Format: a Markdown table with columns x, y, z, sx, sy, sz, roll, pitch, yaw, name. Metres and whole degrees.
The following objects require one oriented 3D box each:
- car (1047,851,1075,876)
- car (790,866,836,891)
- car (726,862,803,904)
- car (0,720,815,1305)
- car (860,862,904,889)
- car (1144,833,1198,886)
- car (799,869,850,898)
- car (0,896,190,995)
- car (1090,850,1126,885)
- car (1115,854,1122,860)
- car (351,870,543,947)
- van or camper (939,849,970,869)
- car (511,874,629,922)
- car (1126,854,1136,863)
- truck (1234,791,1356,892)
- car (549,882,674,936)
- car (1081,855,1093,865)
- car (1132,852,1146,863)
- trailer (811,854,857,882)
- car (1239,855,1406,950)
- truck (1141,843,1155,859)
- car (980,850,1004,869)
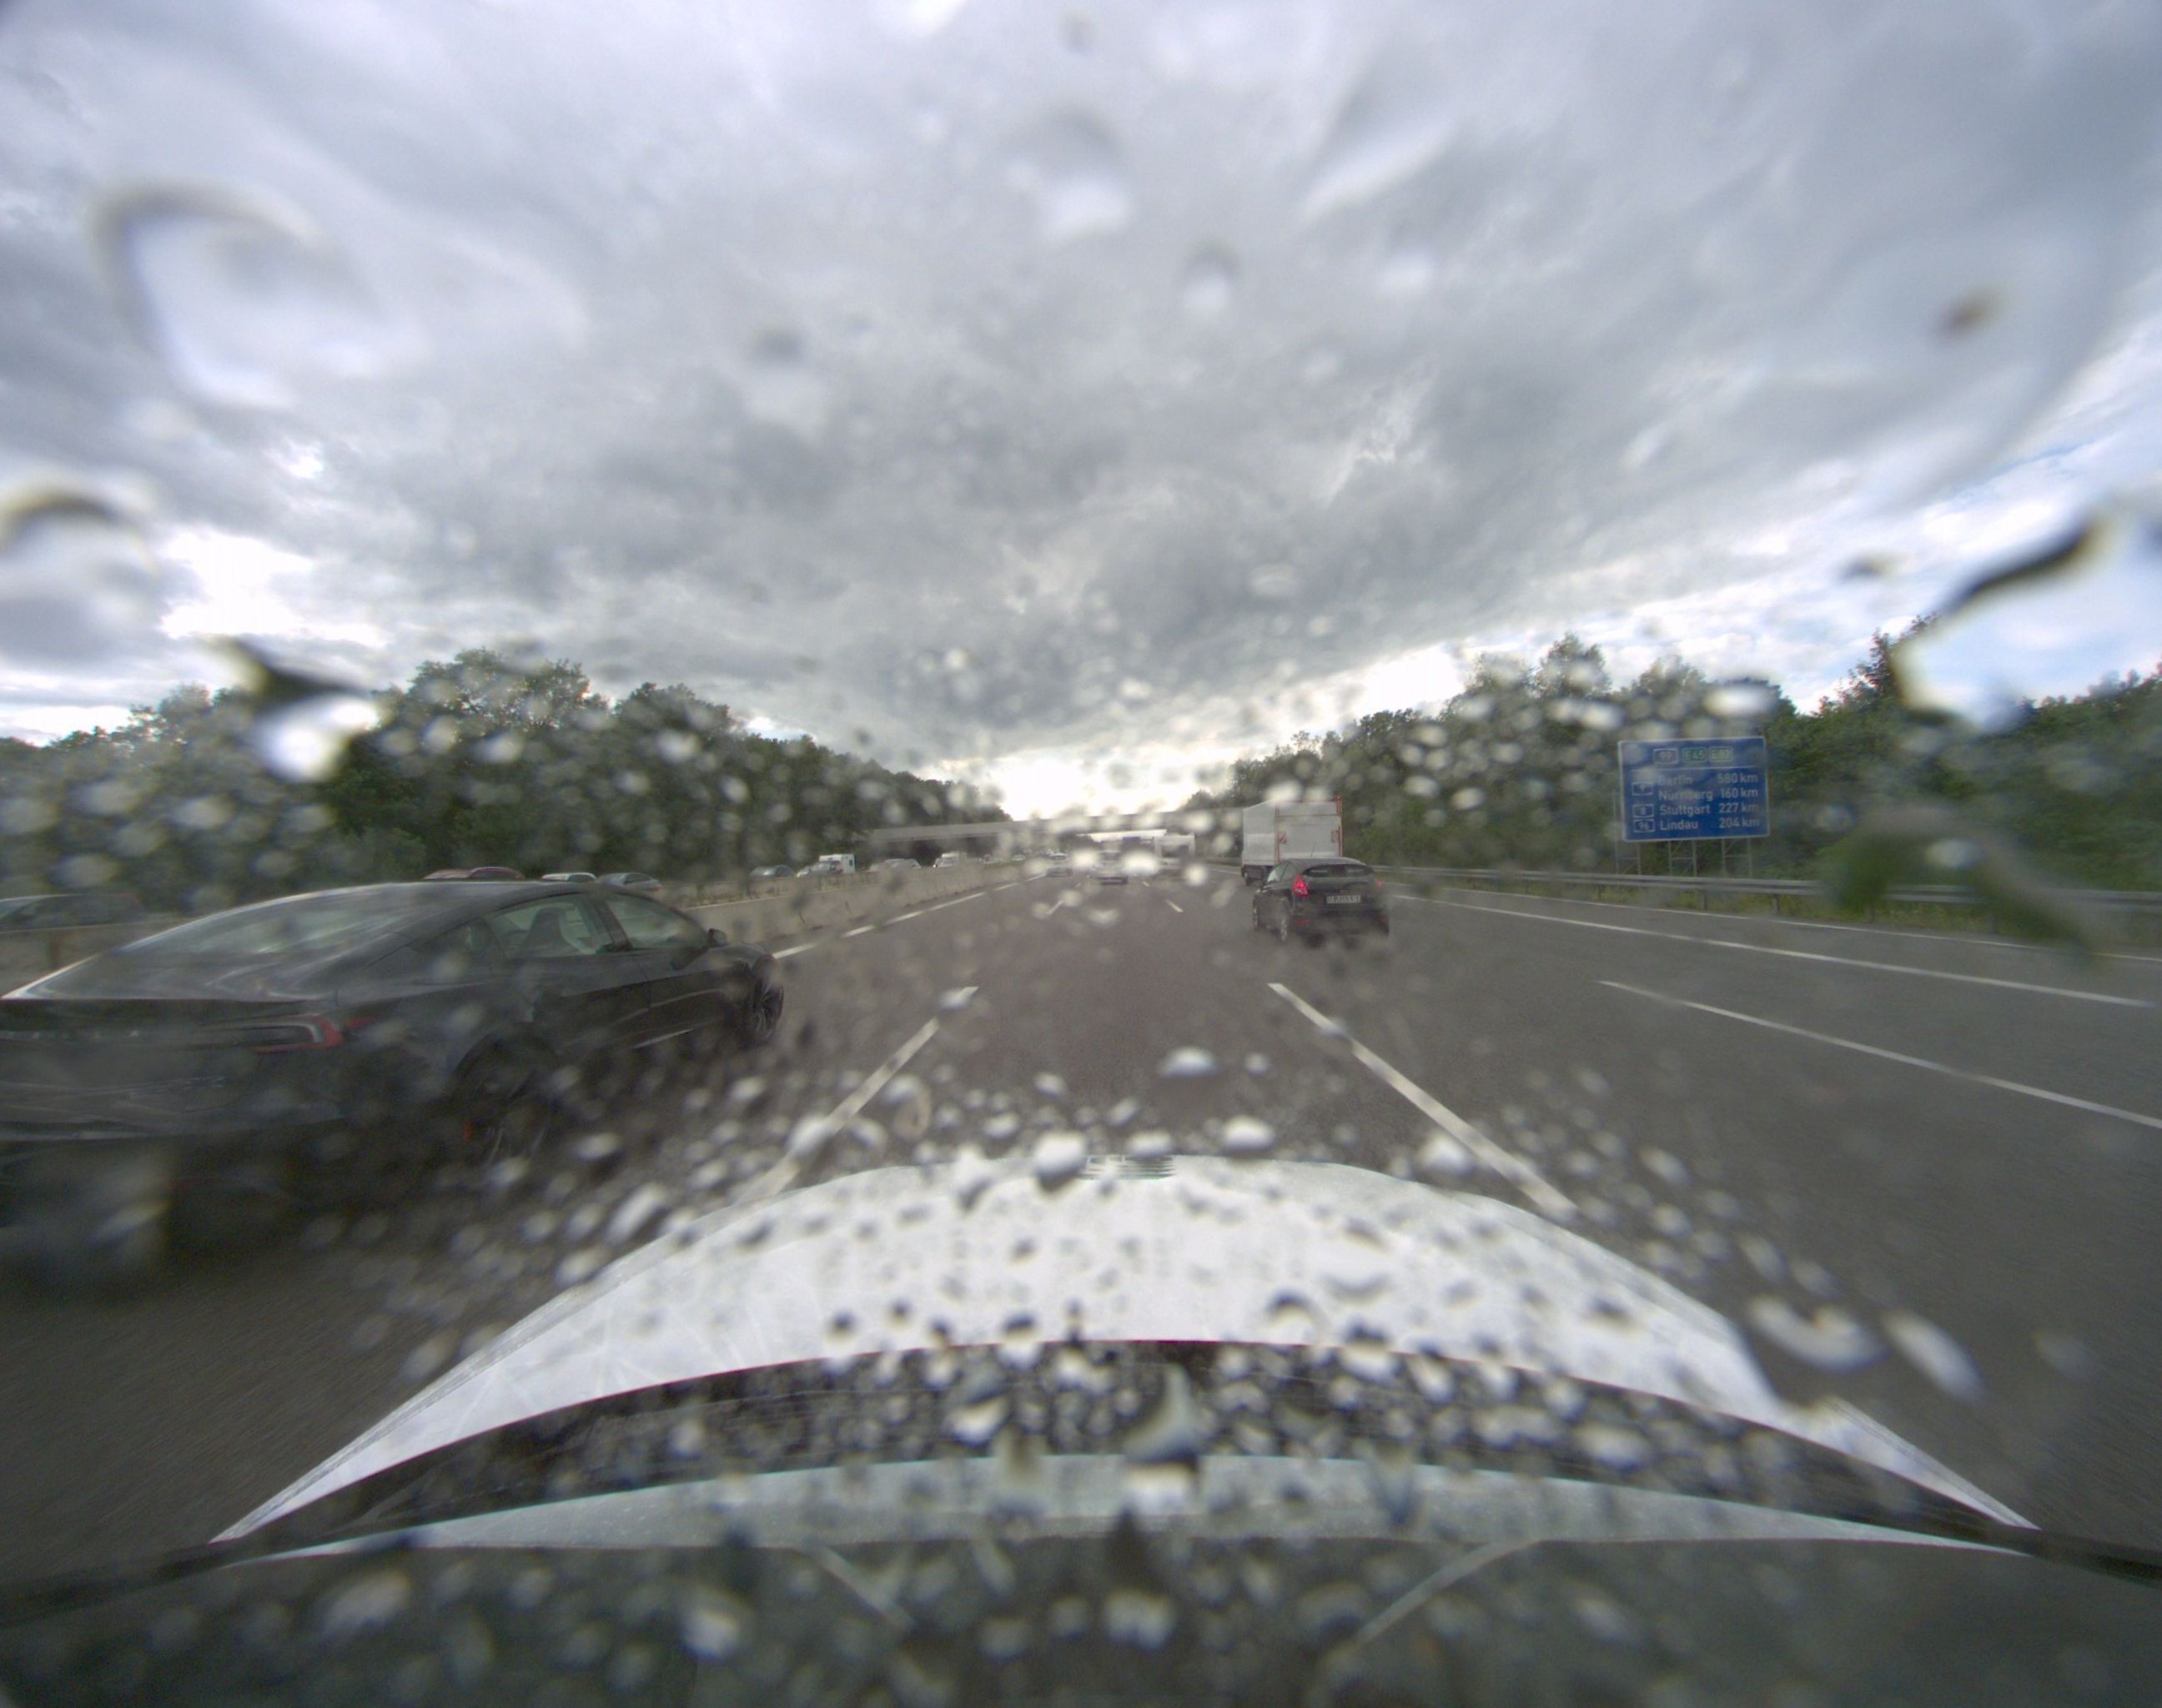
| x | y | z | sx | sy | sz | roll | pitch | yaw | name |
| --- | --- | --- | --- | --- | --- | --- | --- | --- | --- |
| -1.470 | 0.649 | 60.695 | 1.809 | 1.689 | 4.853 | -2 | 0 | 1 | car |
| -22.799 | 2.045 | 69.473 | 1.986 | 1.952 | 5.228 | -1 | 0 | 2 | car |
| -16.624 | 1.466 | 43.063 | 1.986 | 2.013 | 4.767 | -1 | 0 | 2 | car |
| -3.600 | 0.502 | 5.142 | 1.986 | 1.821 | 5.164 | -1 | 0 | 2 | car |
| -15.800 | 1.689 | 64.870 | 1.986 | 1.952 | 5.228 | -1 | 0 | 2 | car |
| 5.282 | 0.282 | 48.689 | 2.557 | 2.895 | 7.536 | -1 | 0 | 2 | car |
| -19.323 | 2.165 | 61.658 | 1.986 | 1.952 | 5.228 | -1 | 0 | 2 | car |
| -25.286 | 2.176 | 19.888 | 1.901 | 2.013 | 4.563 | -1 | 0 | 2 | car |
| 1.462 | 0.654 | 42.957 | 1.774 | 1.716 | 4.355 | -1 | 0 | 2 | car |
| 11.246 | 0.959 | 246.466 | 1.876 | 1.686 | 3.998 | -1 | 0 | -1 | car |
| -16.923 | 1.382 | 22.074 | 1.672 | 1.745 | 4.339 | -1 | 0 | 2 | car |
| -17.544 | 0.658 | 113.292 | 2.595 | 2.707 | 8.129 | -1 | 0 | 2 | van or camper |
| -24.423 | 2.056 | 39.221 | 2.233 | 1.952 | 5.228 | -1 | 0 | 2 | car |
| 10.859 | 1.042 | 178.662 | 2.035 | 1.823 | 4.906 | -1 | 0 | 2 | car |
| 8.928 | -0.468 | 35.399 | 3.120 | 3.709 | 9.854 | -1 | 0 | 3 | truck |
| -20.271 | 2.328 | 35.499 | 2.233 | 1.952 | 5.228 | -1 | 0 | 2 | car |
| 0.977 | 1.009 | 135.077 | 1.774 | 1.481 | 4.354 | -1 | 0 | 2 | car |
| 9.643 | 0.561 | 135.949 | 2.035 | 1.823 | 4.906 | -1 | 0 | 2 | car |
| -22.623 | 1.261 | 74.807 | 2.233 | 2.374 | 5.787 | -1 | 0 | 2 | trailer |
| 4.136 | 0.758 | 14.712 | 1.877 | 1.407 | 4.285 | -1 | 0 | 2 | car |
| 16.146 | -0.759 | 197.167 | 2.895 | 3.810 | 7.278 | -1 | 0 | 2 | truck |
| -10.665 | 0.662 | 97.906 | 1.986 | 2.181 | 5.292 | -1 | 0 | 2 | car |
